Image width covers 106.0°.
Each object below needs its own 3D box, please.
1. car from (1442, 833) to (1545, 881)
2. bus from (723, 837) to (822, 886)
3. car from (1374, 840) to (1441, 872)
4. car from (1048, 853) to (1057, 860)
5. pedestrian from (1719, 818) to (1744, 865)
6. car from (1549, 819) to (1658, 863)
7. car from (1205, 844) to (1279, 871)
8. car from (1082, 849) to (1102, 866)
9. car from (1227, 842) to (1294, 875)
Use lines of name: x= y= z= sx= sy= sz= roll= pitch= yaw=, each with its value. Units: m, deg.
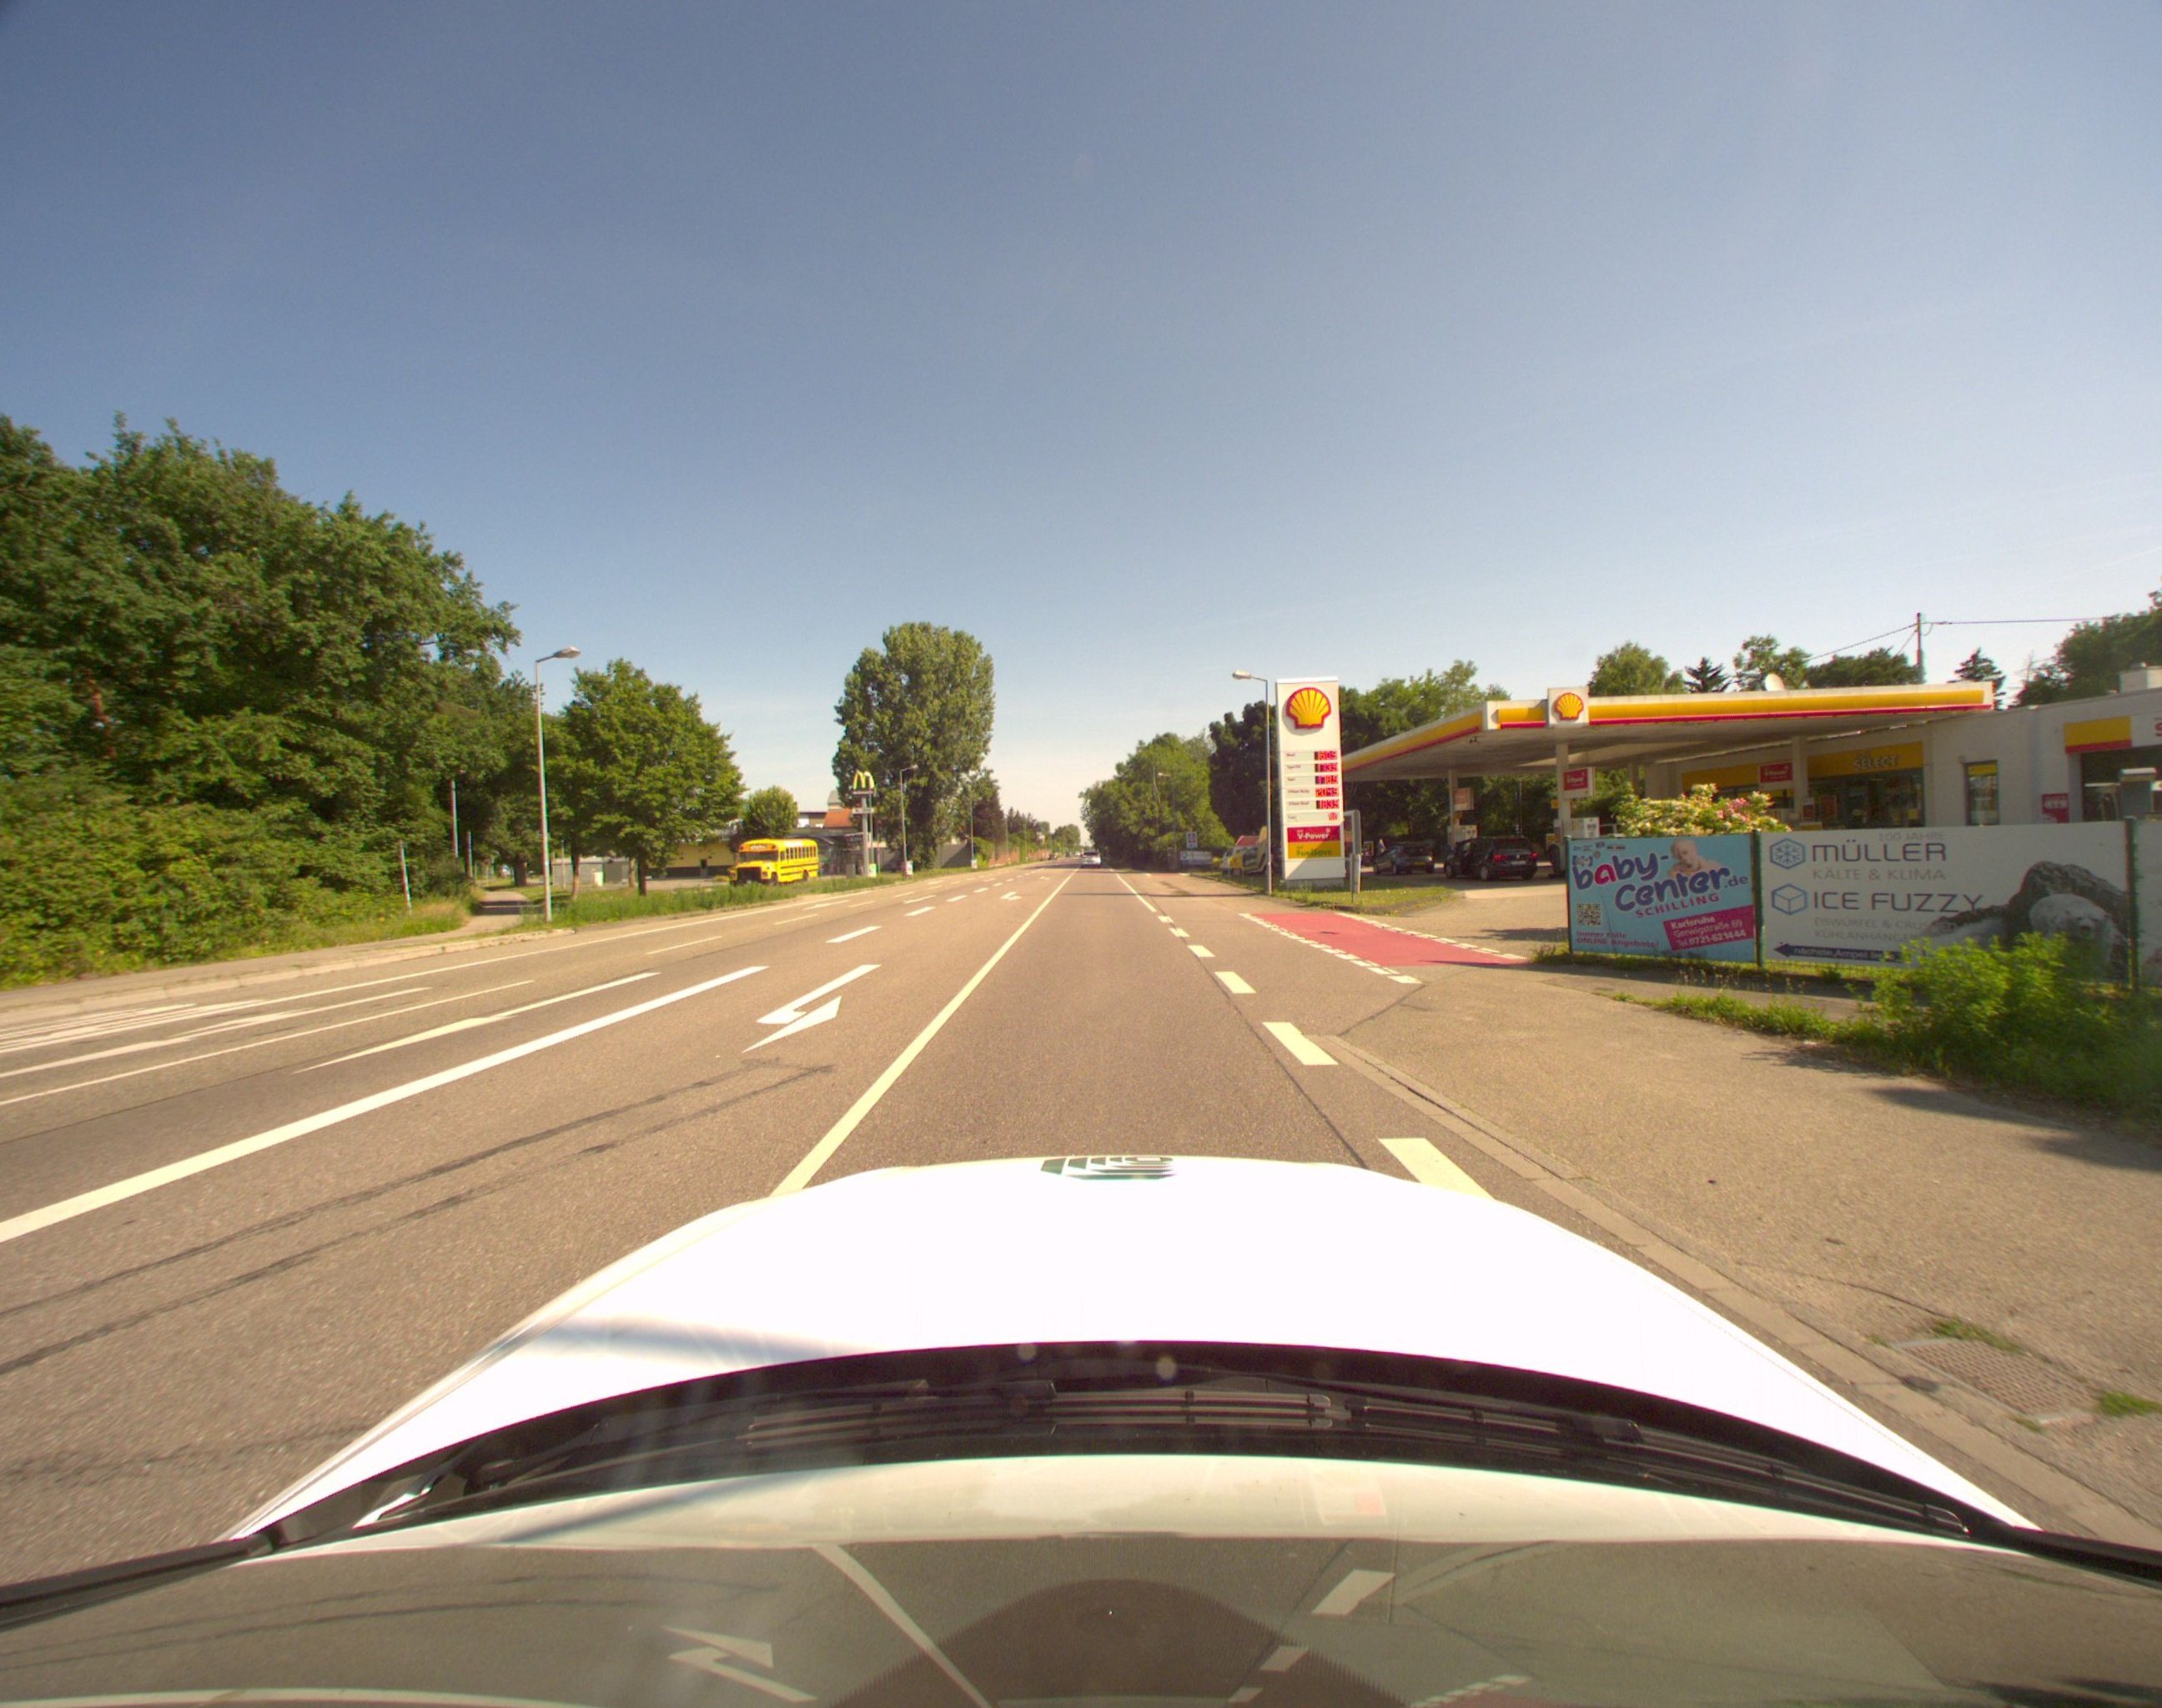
car: x=15.177 y=0.103 z=30.197 sx=1.754 sy=1.578 sz=3.876 roll=-2 pitch=0 yaw=-1
bus: x=-18.126 y=0.431 z=48.583 sx=2.571 sy=2.679 sz=8.992 roll=0 pitch=0 yaw=-1
car: x=15.294 y=0.080 z=38.385 sx=1.790 sy=1.360 sz=3.852 roll=-2 pitch=0 yaw=4
car: x=-6.672 y=0.704 z=191.695 sx=1.840 sy=1.496 sz=4.912 roll=-4 pitch=0 yaw=1
pedestrian: x=23.888 y=-0.457 z=29.906 sx=0.472 sy=1.668 sz=0.501 roll=-2 pitch=0 yaw=2
car: x=23.872 y=-0.560 z=37.467 sx=1.846 sy=1.838 sz=4.779 roll=-2 pitch=0 yaw=-1
car: x=9.469 y=0.190 z=48.032 sx=3.982 sy=1.530 sz=1.582 roll=0 pitch=0 yaw=-7
car: x=1.023 y=0.334 z=76.929 sx=1.840 sy=1.541 sz=4.225 roll=0 pitch=0 yaw=1
car: x=8.644 y=0.242 z=39.339 sx=2.697 sy=1.530 sz=1.587 roll=-2 pitch=-2 yaw=45
